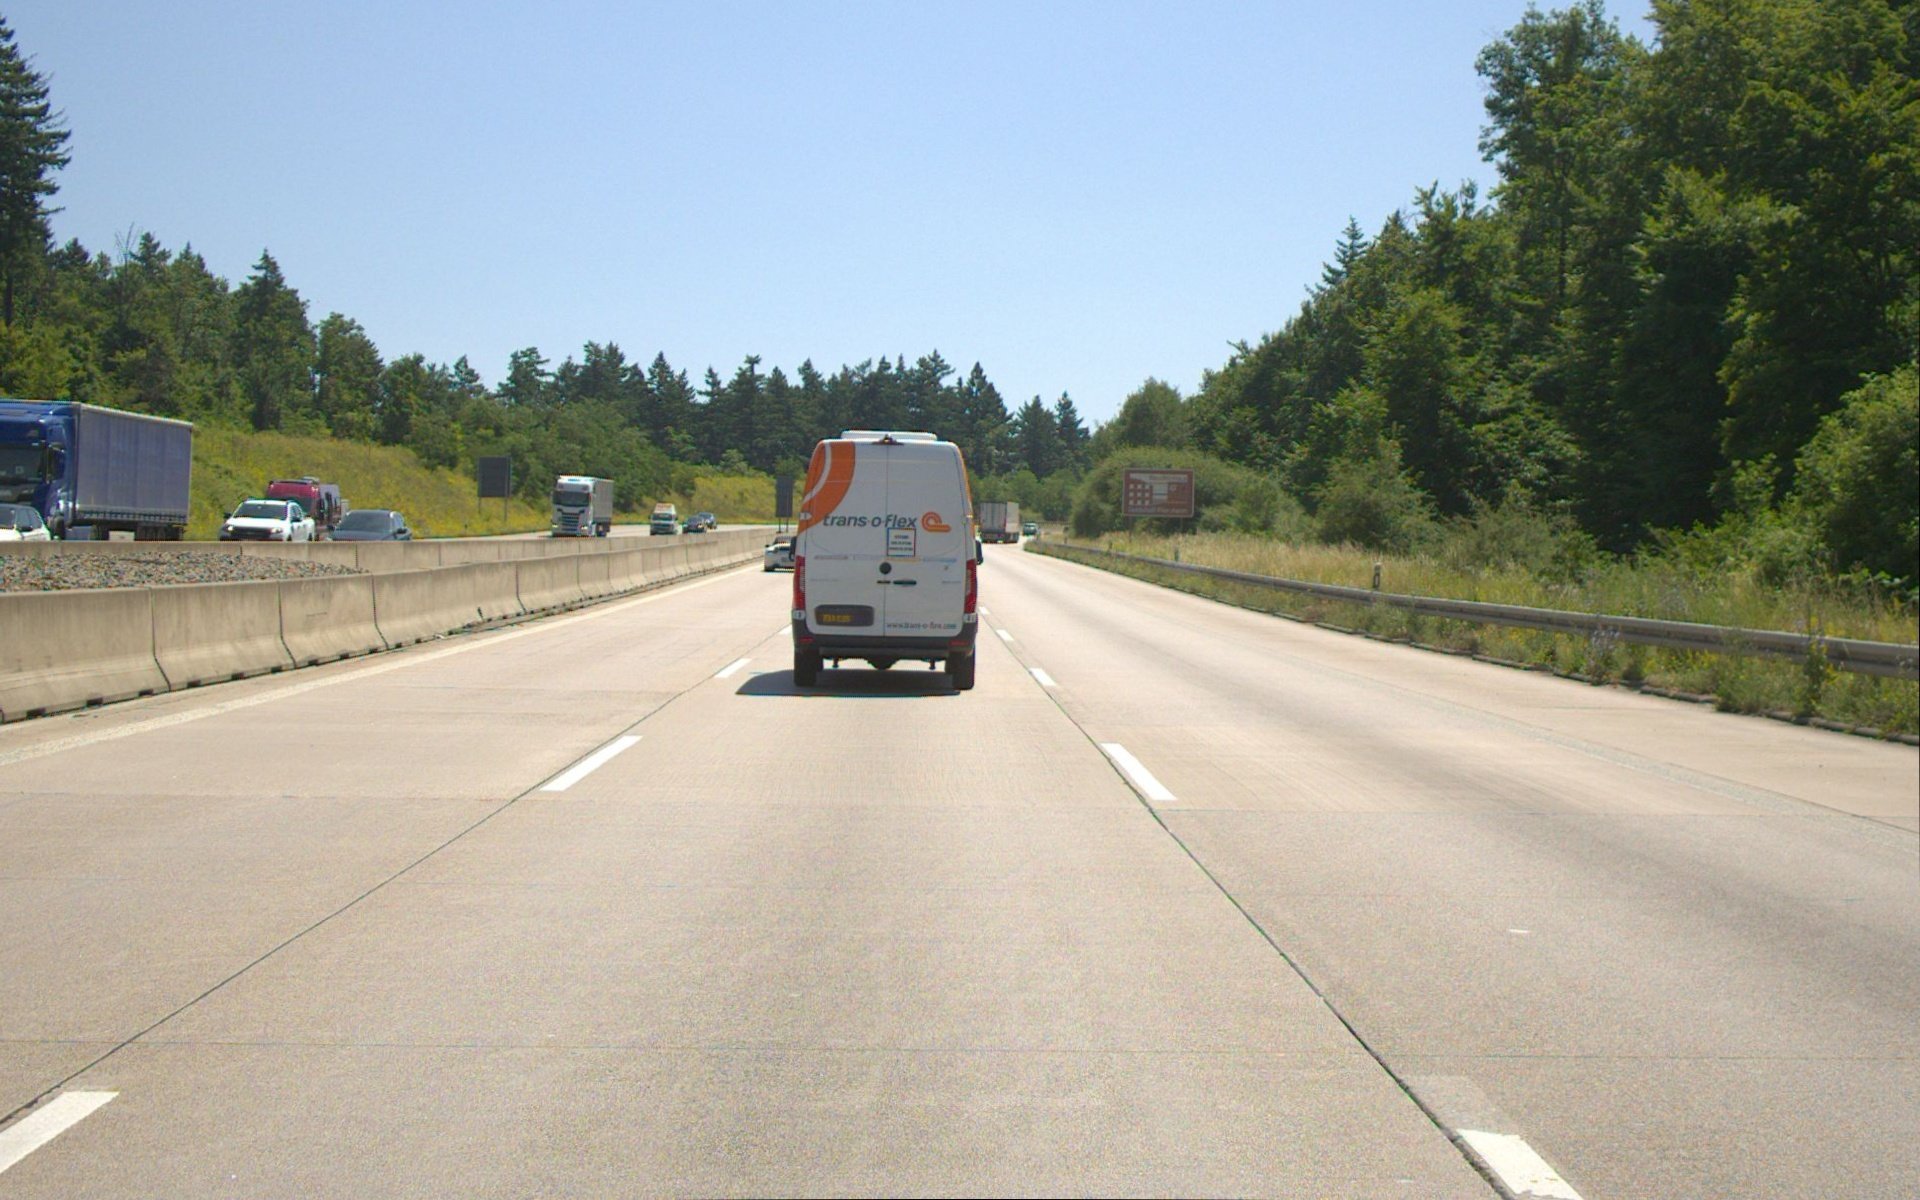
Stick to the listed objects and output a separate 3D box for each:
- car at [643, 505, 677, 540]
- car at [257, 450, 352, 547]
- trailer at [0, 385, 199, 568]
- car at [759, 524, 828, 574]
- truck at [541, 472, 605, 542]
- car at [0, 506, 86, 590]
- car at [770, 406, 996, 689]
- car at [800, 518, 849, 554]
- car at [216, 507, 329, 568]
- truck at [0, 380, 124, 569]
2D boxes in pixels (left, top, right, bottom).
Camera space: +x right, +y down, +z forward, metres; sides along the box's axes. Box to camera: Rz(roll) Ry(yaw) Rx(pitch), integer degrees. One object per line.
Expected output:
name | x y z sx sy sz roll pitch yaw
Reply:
car | -21.966 -5.694 251.850 1.993 2.477 5.179 2 1 0
car | -22.914 -3.522 120.425 1.993 3.230 7.061 2 1 -1
trailer | -23.471 -3.180 92.278 3.256 4.489 13.740 2 1 -1
car | -5.952 -1.817 123.027 1.994 1.678 4.000 2 1 3
truck | -25.691 -6.140 228.710 3.256 4.489 7.986 2 1 0
car | -18.640 -1.036 67.120 1.993 1.577 4.530 2 1 0
car | -0.849 -0.610 38.263 2.226 2.834 5.455 2 1 -1
car | -6.625 -3.132 168.484 1.994 1.678 4.000 2 1 3
car | -18.974 -1.715 95.103 1.993 1.577 5.519 2 1 0
truck | -23.314 -3.093 85.946 3.256 4.489 6.575 2 1 -1
